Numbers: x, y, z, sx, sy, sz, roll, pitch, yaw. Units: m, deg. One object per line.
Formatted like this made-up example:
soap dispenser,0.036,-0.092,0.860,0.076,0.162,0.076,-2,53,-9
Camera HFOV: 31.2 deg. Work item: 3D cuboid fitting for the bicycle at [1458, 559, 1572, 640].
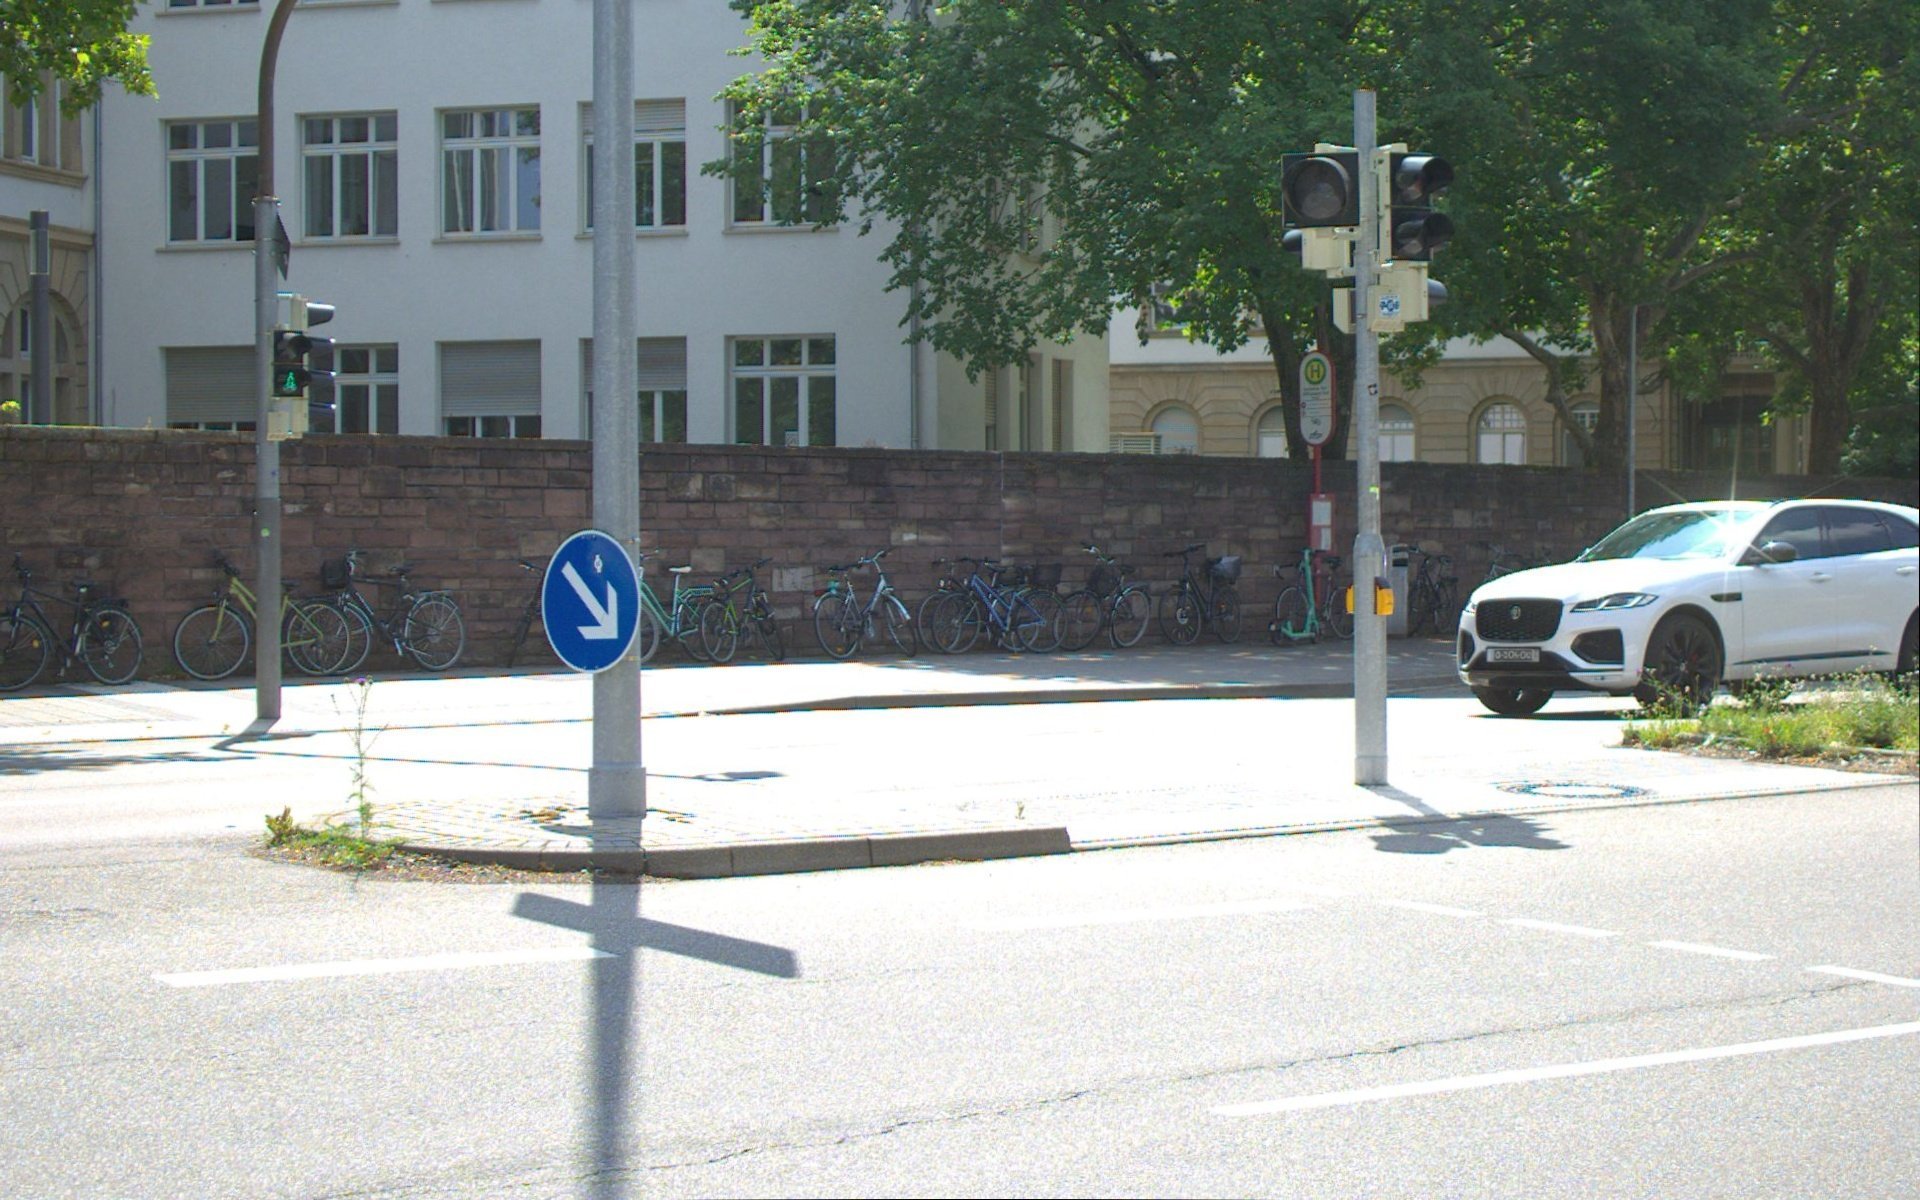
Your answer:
bicycle,7.394,-0.021,45.746,0.545,1.044,1.945,1,1,41

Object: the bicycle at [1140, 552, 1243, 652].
bicycle,2.734,0.010,40.512,0.533,1.148,1.591,1,1,31

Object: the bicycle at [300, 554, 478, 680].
bicycle,-5.374,0.145,32.410,0.623,1.148,1.590,1,1,45

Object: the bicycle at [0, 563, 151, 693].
bicycle,-7.885,0.228,29.905,0.573,1.095,1.590,1,1,45

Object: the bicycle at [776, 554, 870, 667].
bicycle,-1.426,0.101,35.962,0.402,1.148,1.593,0,1,20

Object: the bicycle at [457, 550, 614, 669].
bicycle,-4.166,0.084,33.814,1.590,1.148,0.413,-1,1,-42

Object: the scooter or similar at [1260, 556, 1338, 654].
scooter or similar,4.048,0.047,41.008,0.432,1.148,1.191,1,1,32

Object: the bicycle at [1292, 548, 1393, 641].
bicycle,4.777,-0.081,42.888,0.433,1.139,1.590,1,1,41

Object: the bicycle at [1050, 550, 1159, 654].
bicycle,1.649,0.009,39.072,0.533,1.148,1.591,1,1,31

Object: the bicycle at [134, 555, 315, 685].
bicycle,-6.650,0.166,31.127,0.500,1.148,1.590,1,1,45

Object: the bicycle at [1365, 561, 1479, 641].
bicycle,5.942,0.002,44.163,0.481,1.004,1.797,1,1,44

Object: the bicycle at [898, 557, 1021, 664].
bicycle,0.004,0.102,37.780,0.402,1.148,1.590,1,1,41

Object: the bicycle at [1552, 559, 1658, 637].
bicycle,8.894,-0.040,47.325,0.545,1.044,1.891,1,1,41

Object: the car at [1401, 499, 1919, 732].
car,5.900,0.073,26.749,4.760,1.661,2.077,-1,1,-36

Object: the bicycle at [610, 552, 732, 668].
bicycle,-2.928,0.090,34.973,0.402,1.148,1.591,1,1,30

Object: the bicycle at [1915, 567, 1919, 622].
bicycle,16.582,-0.098,57.157,1.660,0.899,0.503,-1,1,-40

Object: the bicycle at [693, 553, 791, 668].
bicycle,-2.225,0.097,35.258,0.402,1.148,1.593,0,1,20
